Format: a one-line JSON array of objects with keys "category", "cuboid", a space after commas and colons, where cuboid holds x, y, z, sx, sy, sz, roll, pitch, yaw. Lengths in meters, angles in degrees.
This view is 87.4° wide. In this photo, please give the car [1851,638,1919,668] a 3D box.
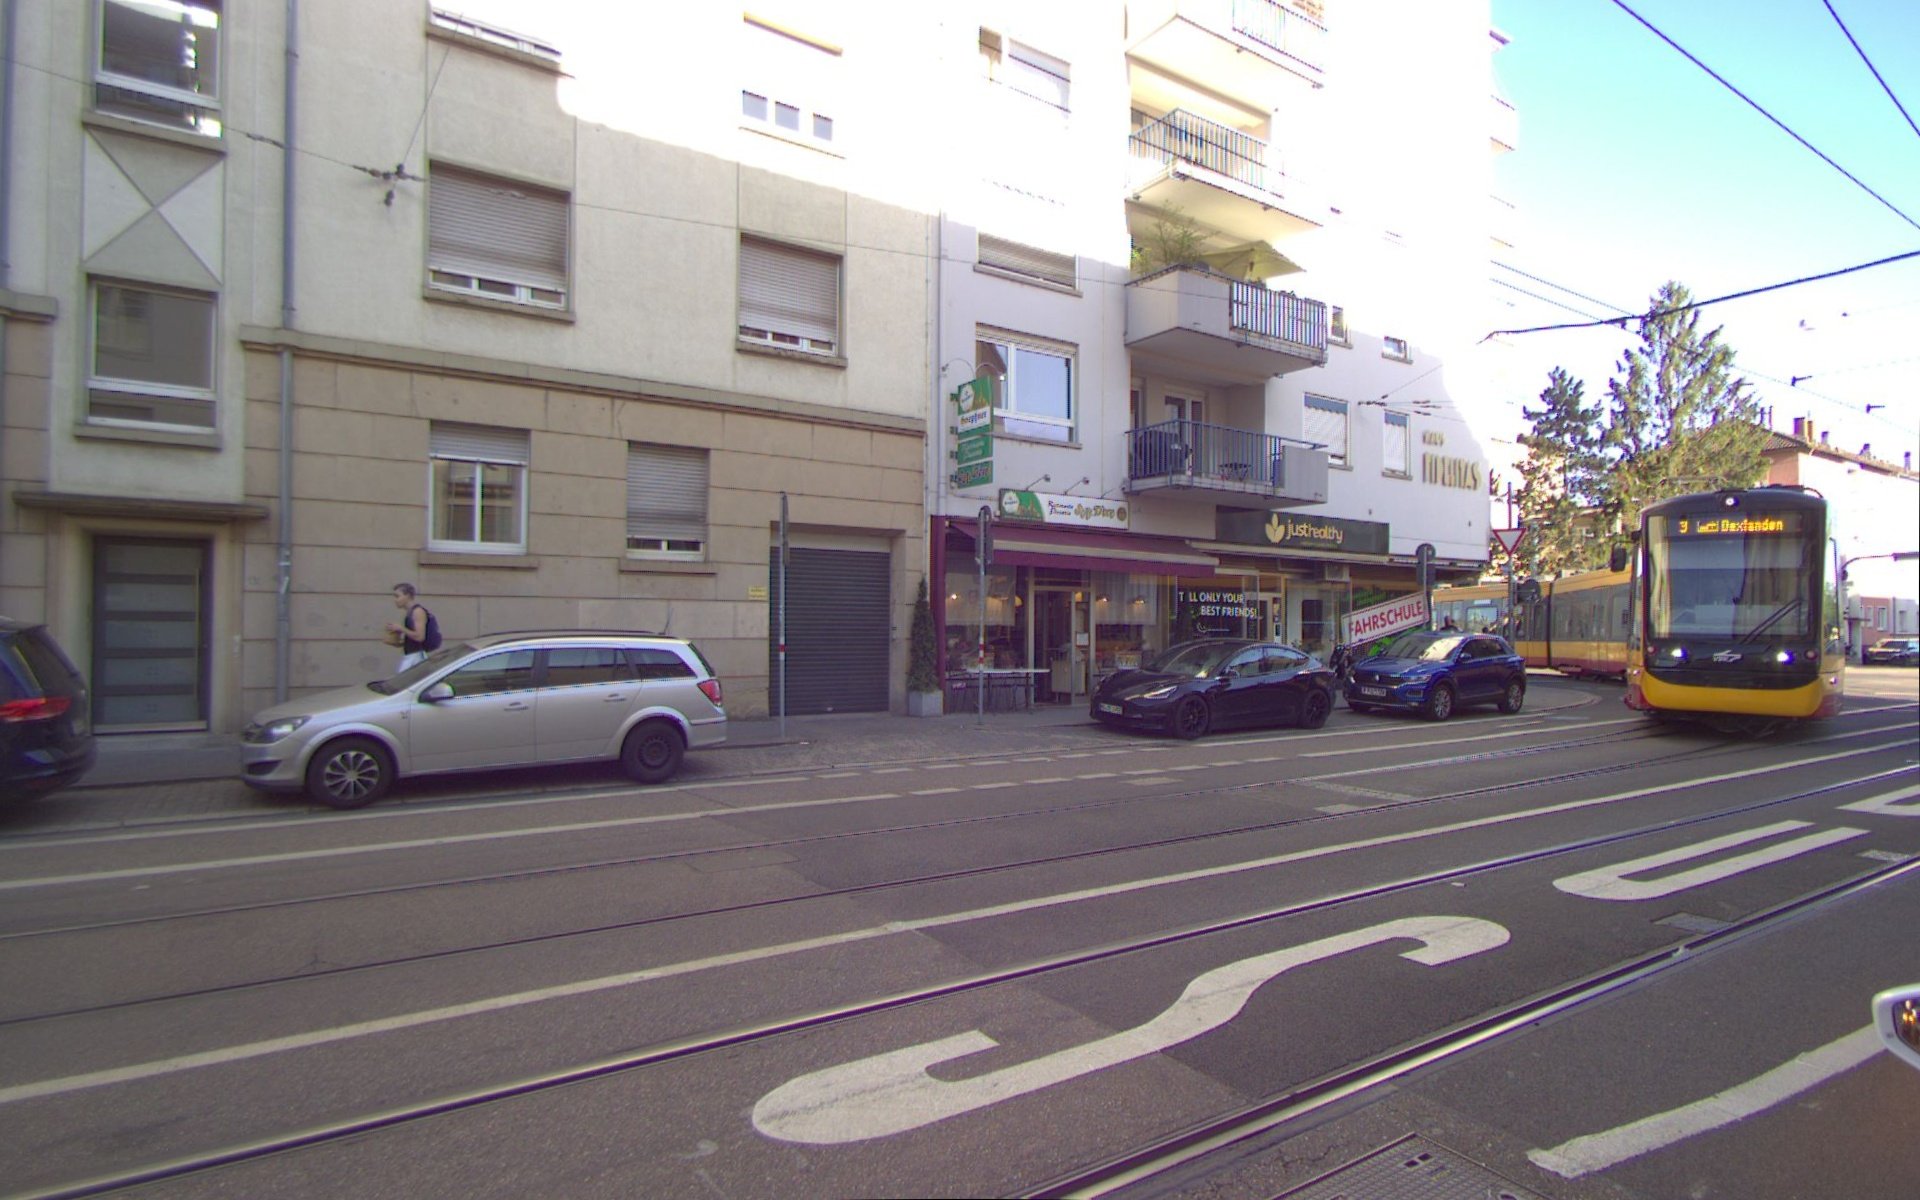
[{"category": "car", "cuboid": [49.558, 2.832, 53.674, 3.949, 1.440, 1.784, 2, 0, -31]}]

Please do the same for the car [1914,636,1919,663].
[{"category": "car", "cuboid": [58.391, 2.968, 59.421, 4.103, 1.531, 1.778, 2, 0, -31]}]

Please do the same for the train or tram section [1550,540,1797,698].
[{"category": "train or tram section", "cuboid": [19.427, 0.467, 28.185, 2.778, 3.679, 9.087, 2, 0, 17]}]

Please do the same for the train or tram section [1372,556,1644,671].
[{"category": "train or tram section", "cuboid": [20.832, 0.484, 39.924, 2.700, 3.680, 14.263, 2, 0, -1]}]

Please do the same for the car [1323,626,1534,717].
[{"category": "car", "cuboid": [8.924, 1.285, 19.068, 4.030, 1.552, 1.858, 1, -2, -34]}]

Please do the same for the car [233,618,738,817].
[{"category": "car", "cuboid": [-4.711, 1.039, 10.302, 4.319, 1.580, 1.981, 2, 0, -34]}]

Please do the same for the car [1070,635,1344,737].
[{"category": "car", "cuboid": [4.010, 1.276, 16.056, 4.382, 1.405, 1.810, 1, -2, -34]}]

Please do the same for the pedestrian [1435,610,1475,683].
[{"category": "pedestrian", "cuboid": [14.068, 1.315, 28.548, 0.688, 2.040, 0.764, 2, 0, -35]}]

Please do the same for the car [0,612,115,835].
[{"category": "car", "cuboid": [-9.023, 0.881, 7.256, 4.249, 1.606, 1.893, 2, 0, -35]}]

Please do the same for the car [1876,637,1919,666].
[{"category": "car", "cuboid": [53.238, 2.885, 56.139, 4.250, 1.518, 1.806, 2, 0, -30]}]

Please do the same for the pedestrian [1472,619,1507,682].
[{"category": "pedestrian", "cuboid": [15.500, 1.473, 29.410, 0.691, 1.829, 0.568, 2, 0, -30]}]

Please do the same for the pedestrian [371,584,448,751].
[{"category": "pedestrian", "cuboid": [-6.343, 0.757, 11.581, 0.725, 1.857, 0.595, 2, 0, -30]}]

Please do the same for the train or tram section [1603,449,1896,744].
[{"category": "train or tram section", "cuboid": [13.958, 0.171, 18.428, 3.022, 3.641, 12.589, -1, -2, 35]}]

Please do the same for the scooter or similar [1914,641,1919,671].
[{"category": "scooter or similar", "cuboid": [41.848, 2.390, 43.039, 0.440, 1.286, 1.338, 2, -2, -40]}]
